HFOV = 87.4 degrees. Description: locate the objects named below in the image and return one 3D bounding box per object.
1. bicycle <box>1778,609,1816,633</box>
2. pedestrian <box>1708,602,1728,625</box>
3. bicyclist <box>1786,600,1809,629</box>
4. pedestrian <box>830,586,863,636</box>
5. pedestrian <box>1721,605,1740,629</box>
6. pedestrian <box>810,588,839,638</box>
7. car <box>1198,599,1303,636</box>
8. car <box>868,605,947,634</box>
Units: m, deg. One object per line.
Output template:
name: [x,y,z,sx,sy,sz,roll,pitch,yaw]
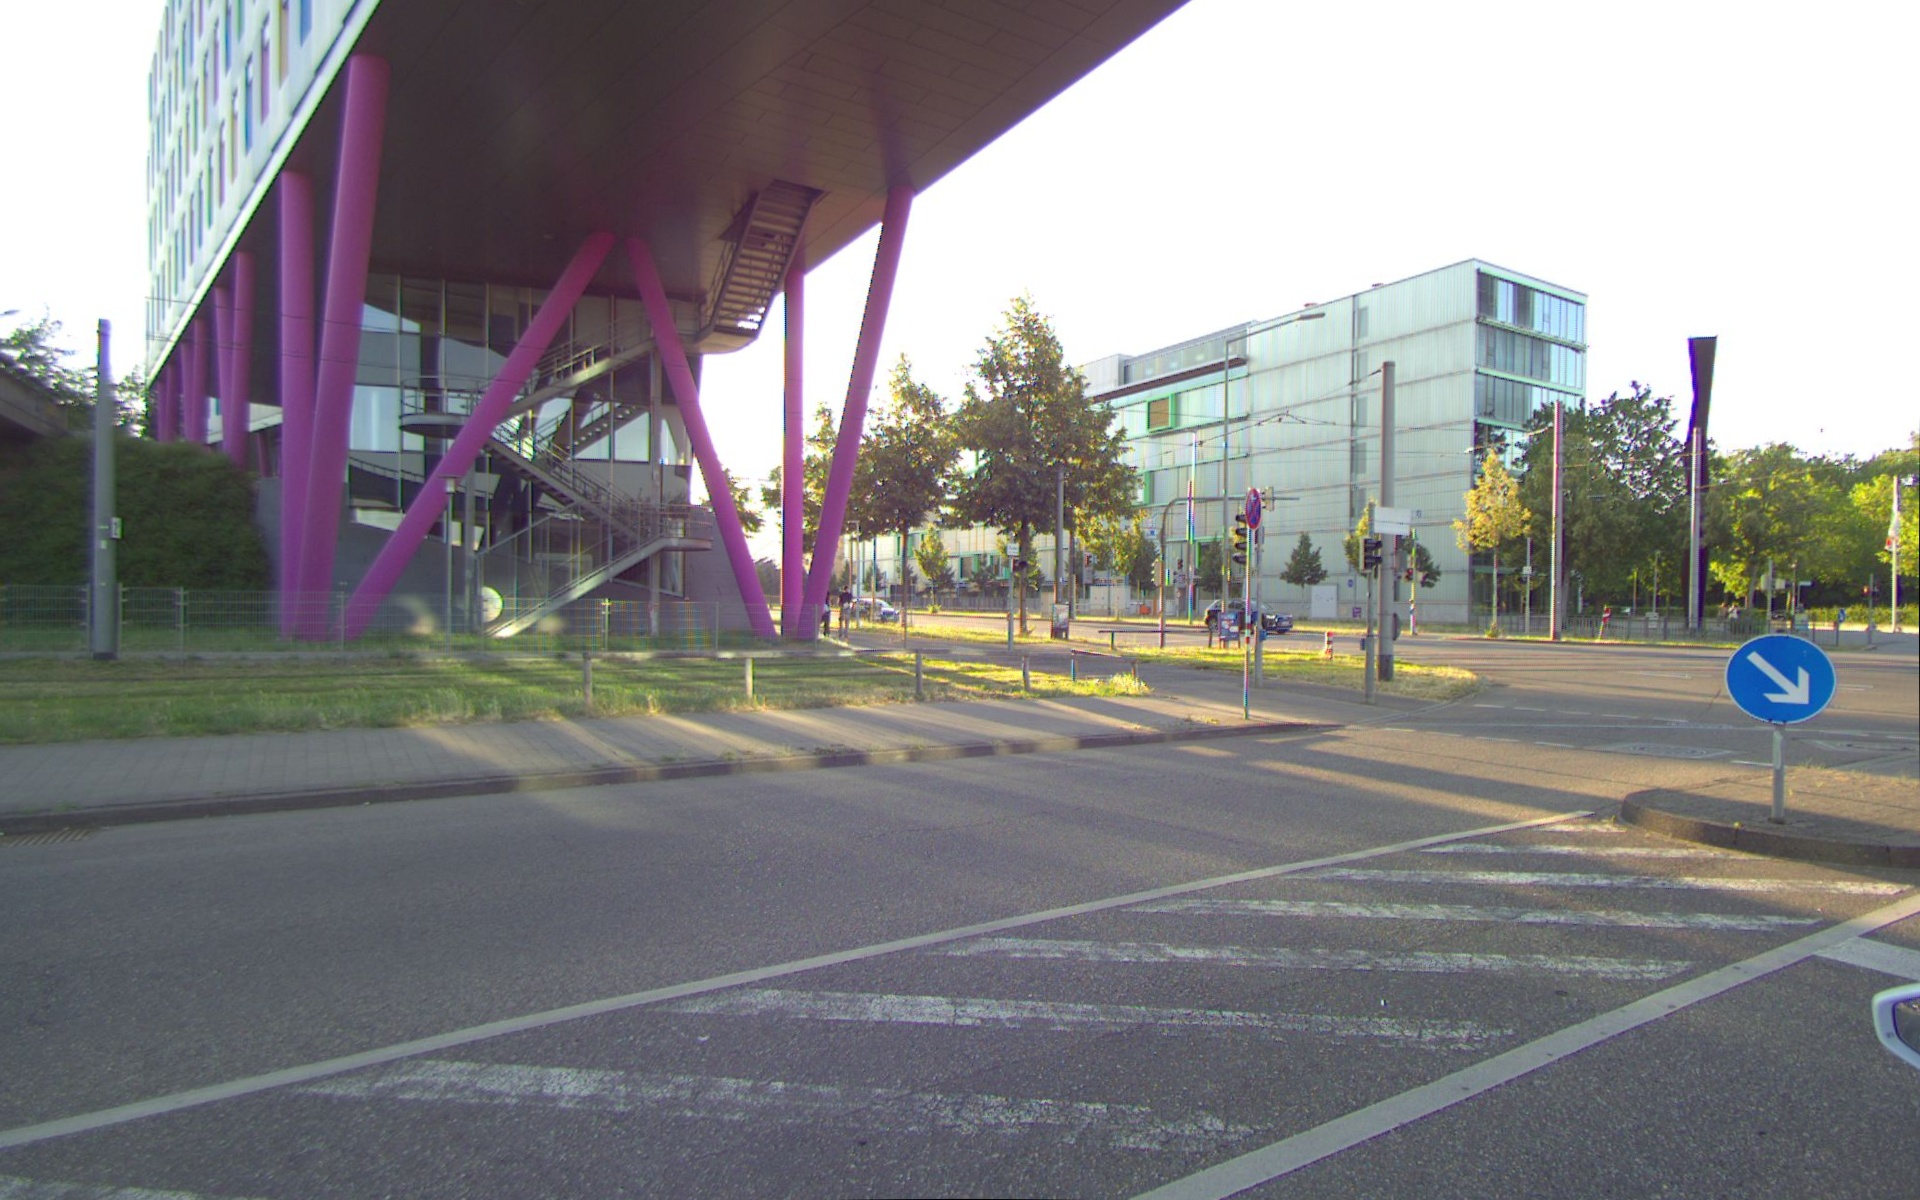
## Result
bicycle: [50.423,1.253,60.529,0.717,1.359,2.691,1,0,16]
pedestrian: [57.644,1.018,76.366,0.814,1.767,0.862,1,0,-5]
bicyclist: [50.431,0.871,60.496,0.738,1.732,0.920,1,0,14]
pedestrian: [-4.037,0.406,35.786,0.921,1.747,0.877,1,-2,-28]
pedestrian: [58.515,1.296,76.290,0.814,1.767,0.863,1,0,-1]
pedestrian: [-4.772,0.483,35.408,0.754,1.727,0.881,1,-2,-28]
car: [13.302,0.791,46.200,1.968,1.577,4.448,1,0,-34]
car: [-3.066,1.087,57.582,1.971,1.531,4.966,1,0,-40]
